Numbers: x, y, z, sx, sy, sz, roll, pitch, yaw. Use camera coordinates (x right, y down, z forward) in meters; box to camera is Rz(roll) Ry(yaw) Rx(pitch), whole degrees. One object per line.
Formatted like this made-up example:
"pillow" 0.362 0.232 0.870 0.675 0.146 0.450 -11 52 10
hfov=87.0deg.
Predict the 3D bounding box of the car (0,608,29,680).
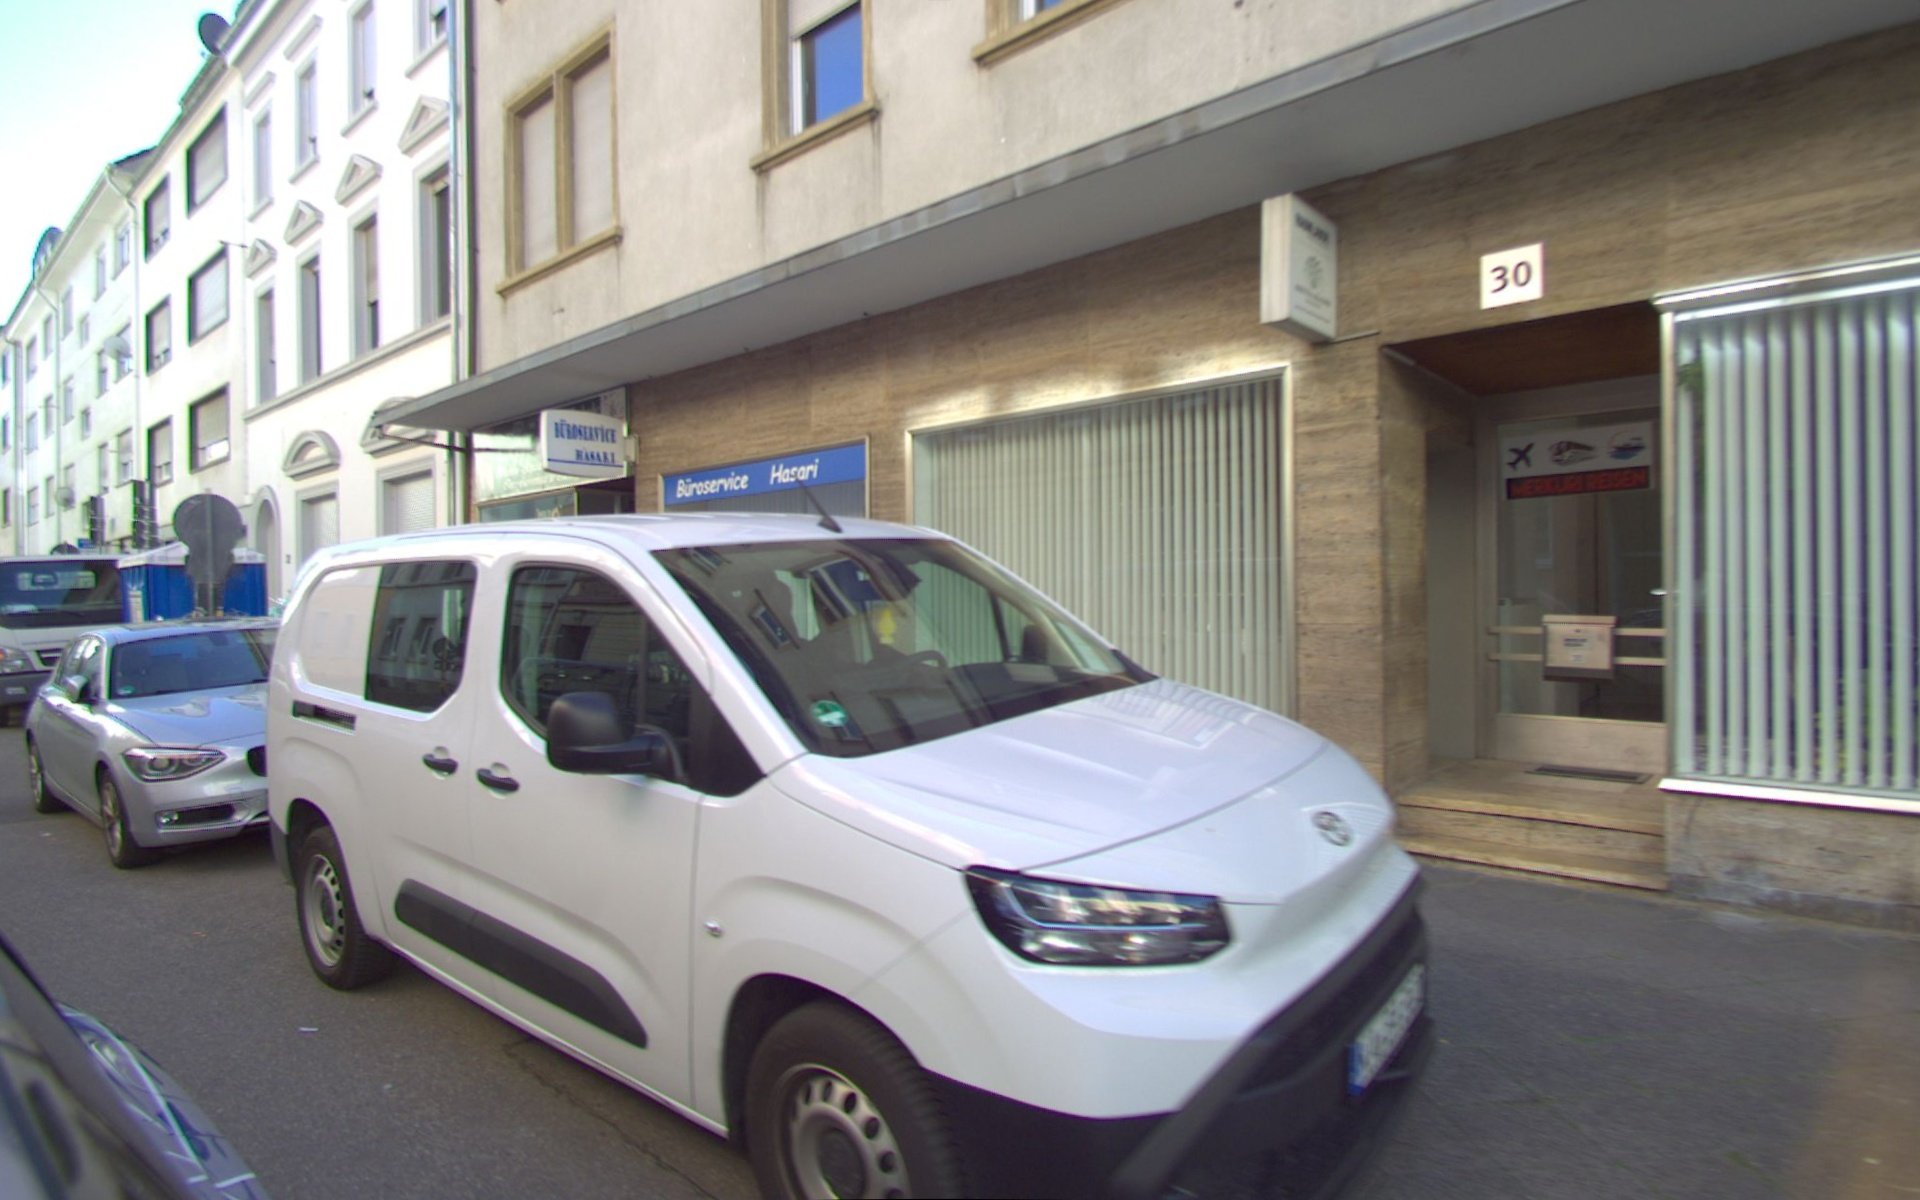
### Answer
"car" -25.795 1.083 26.223 4.172 1.783 1.738 0 -1 37

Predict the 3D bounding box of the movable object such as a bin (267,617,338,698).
"movable object such as a bin" -10.256 0.877 15.789 0.685 1.199 0.750 0 0 37

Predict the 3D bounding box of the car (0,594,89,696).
"car" -19.877 0.871 20.773 5.176 1.896 1.895 -1 -2 37

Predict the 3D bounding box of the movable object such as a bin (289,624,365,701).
"movable object such as a bin" -9.405 0.914 15.044 0.695 1.080 0.778 0 0 37

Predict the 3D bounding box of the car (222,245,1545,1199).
"car" -0.840 0.532 3.578 4.805 1.913 1.749 -1 -2 40

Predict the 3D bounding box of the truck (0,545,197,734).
"truck" -13.839 0.501 15.091 6.335 2.326 2.145 0 -1 36

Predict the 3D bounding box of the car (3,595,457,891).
"car" -5.491 0.802 7.364 4.485 1.534 1.647 -1 -2 41
